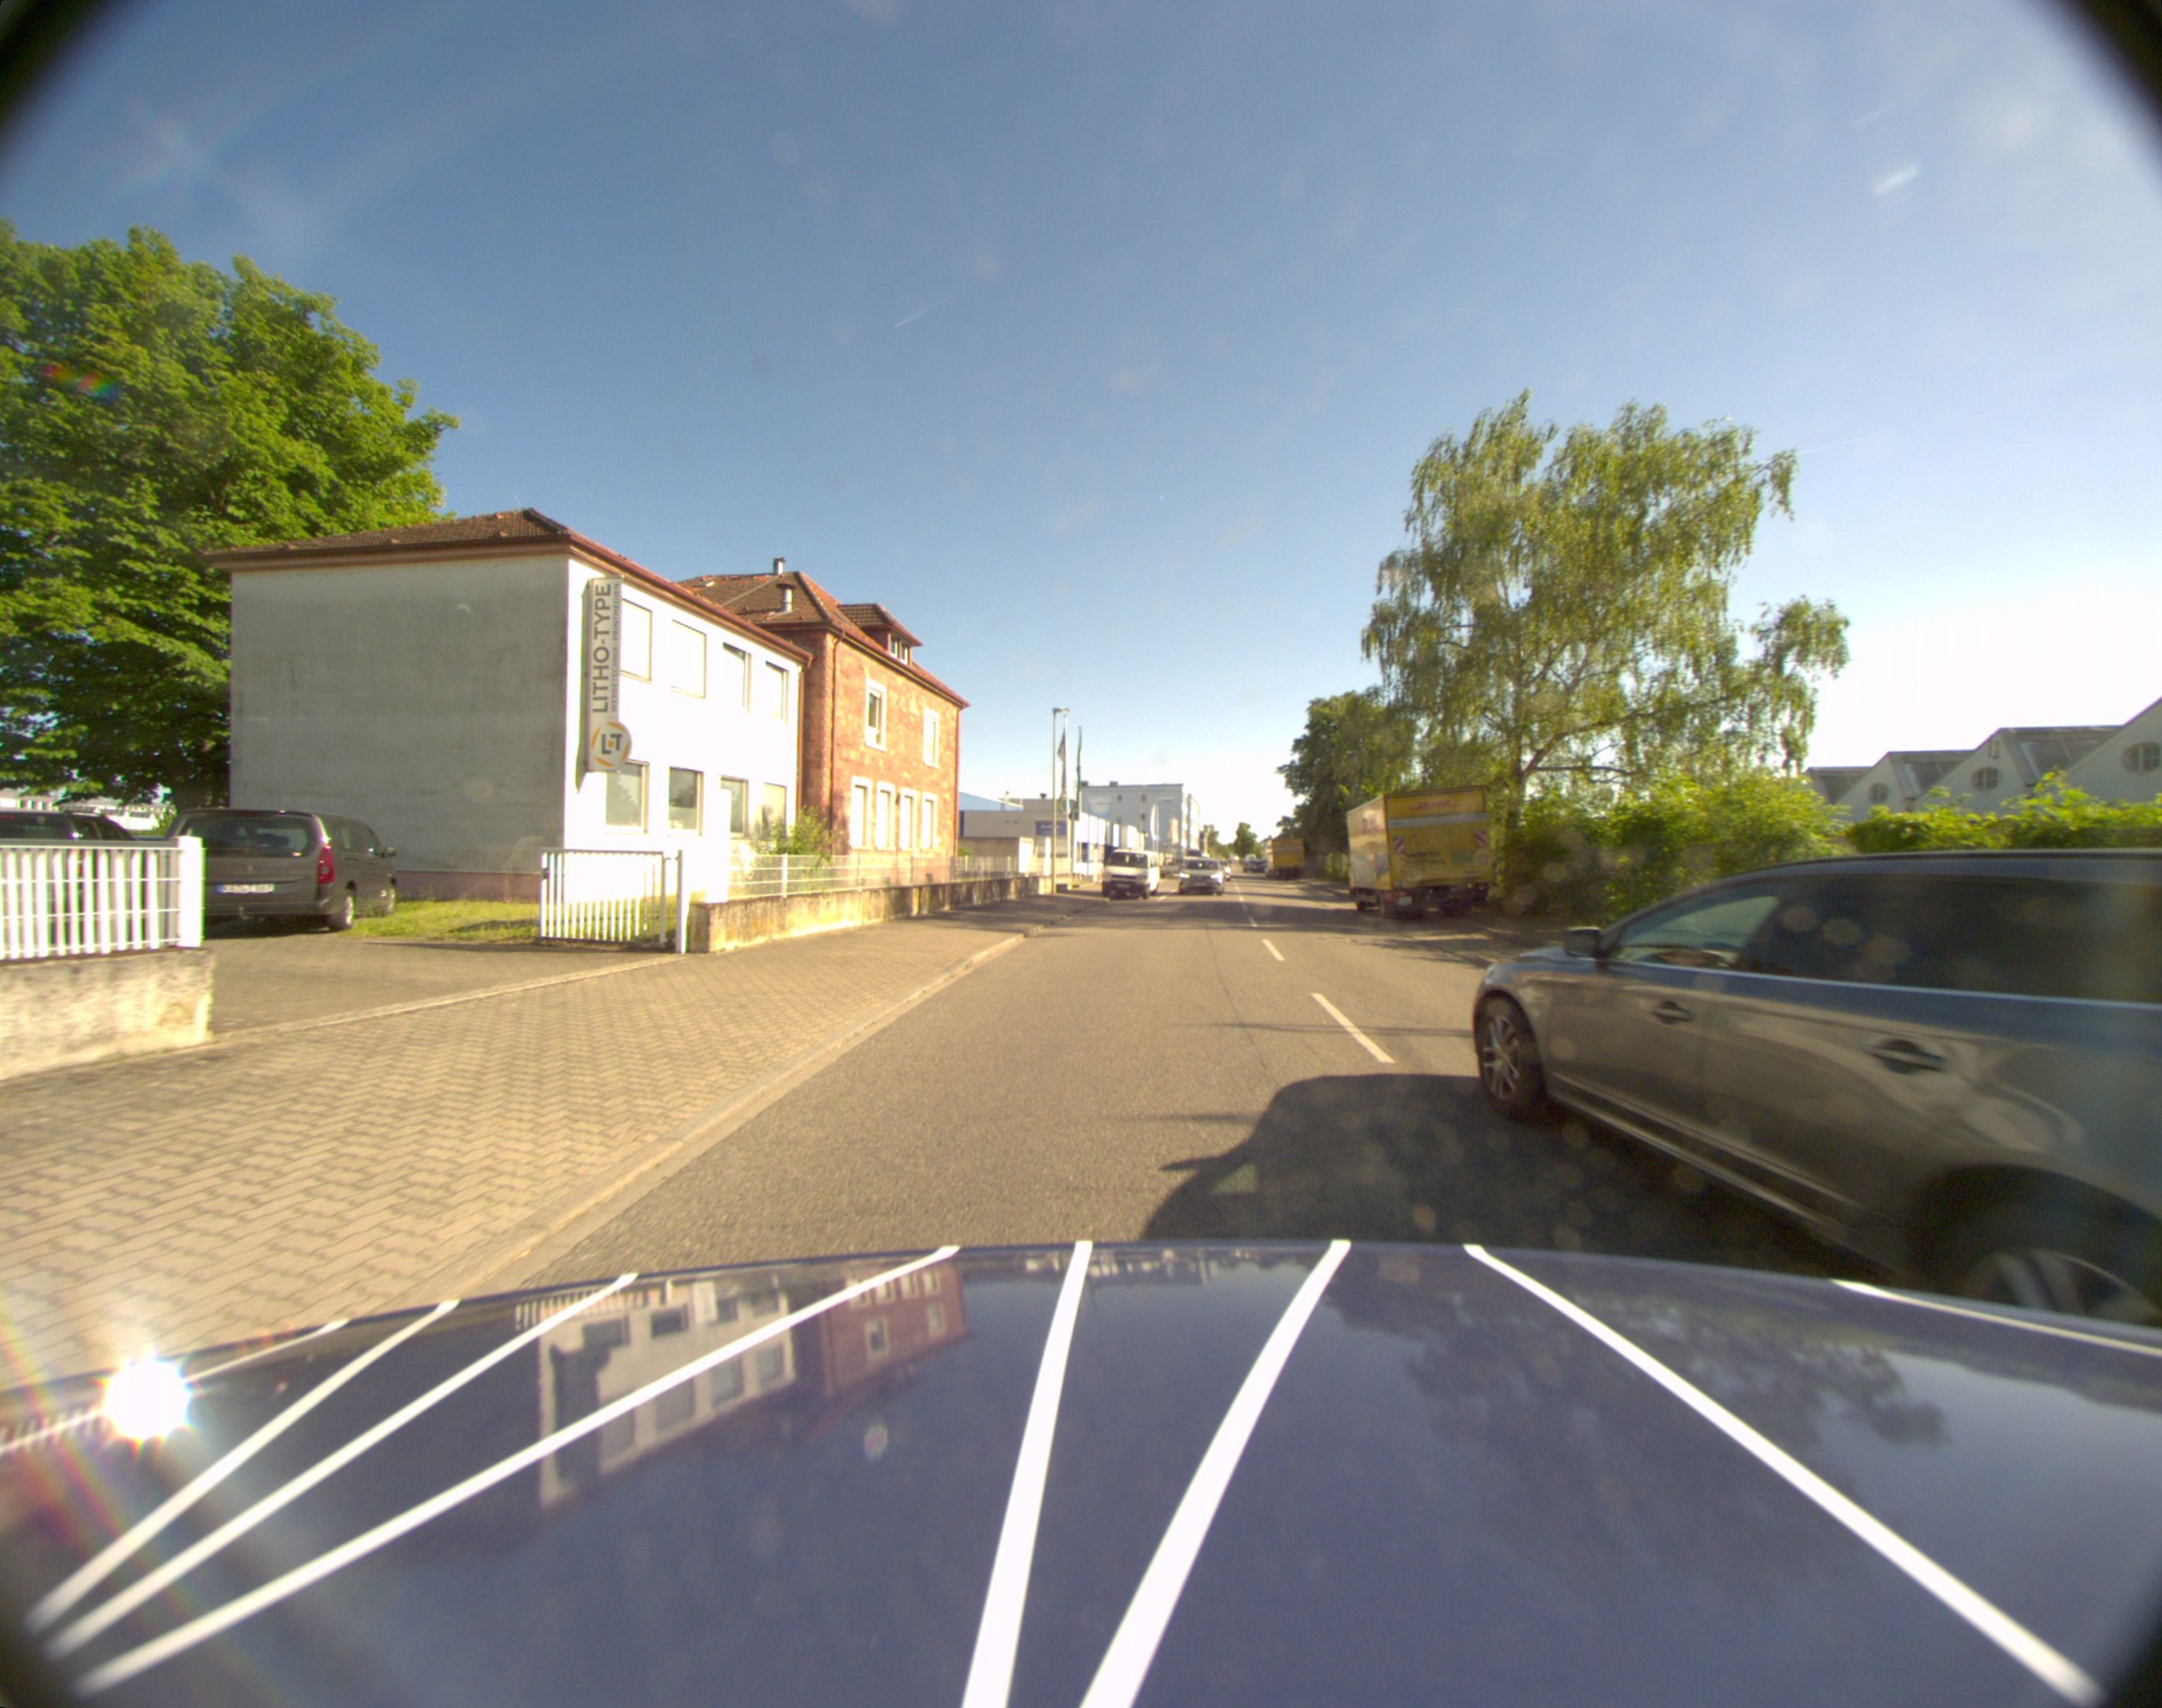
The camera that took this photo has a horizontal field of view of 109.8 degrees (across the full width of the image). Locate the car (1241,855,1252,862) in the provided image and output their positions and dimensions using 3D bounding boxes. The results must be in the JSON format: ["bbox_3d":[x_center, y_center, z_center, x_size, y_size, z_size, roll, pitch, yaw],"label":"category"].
[{"bbox_3d":[38.117,1.081,175.129,1.849,1.621,4.297,2,0,6],"label":"car"}]

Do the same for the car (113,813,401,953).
[{"bbox_3d":[-12.521,0.347,11.957,2.004,1.767,4.354,1,0,-32],"label":"car"}]

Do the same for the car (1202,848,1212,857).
[{"bbox_3d":[25.270,-0.335,152.135,1.848,1.621,4.299,2,0,10],"label":"car"}]

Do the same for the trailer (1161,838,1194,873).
[{"bbox_3d":[7.824,0.137,61.228,2.159,2.701,4.201,2,0,13],"label":"trailer"}]

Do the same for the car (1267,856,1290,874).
[{"bbox_3d":[19.618,1.058,75.456,1.848,1.621,4.299,2,0,10],"label":"car"}]

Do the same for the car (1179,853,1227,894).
[{"bbox_3d":[5.477,0.798,33.612,1.848,1.621,4.299,2,0,12],"label":"car"}]

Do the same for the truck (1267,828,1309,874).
[{"bbox_3d":[18.034,-0.237,66.576,2.793,3.736,7.904,2,0,11],"label":"truck"}]

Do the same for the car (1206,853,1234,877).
[{"bbox_3d":[10.180,0.765,55.384,1.848,1.621,4.299,2,0,12],"label":"car"}]

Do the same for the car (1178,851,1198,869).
[{"bbox_3d":[11.141,0.620,78.989,1.848,1.695,4.299,2,0,10],"label":"car"}]

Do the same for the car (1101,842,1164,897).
[{"bbox_3d":[2.173,0.589,30.950,1.848,2.002,4.719,-2,0,12],"label":"car"}]

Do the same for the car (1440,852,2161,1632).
[{"bbox_3d":[3.406,0.866,2.879,1.998,1.686,4.566,2,0,2],"label":"car"}]

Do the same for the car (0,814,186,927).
[{"bbox_3d":[-18.424,0.209,13.525,2.004,1.767,4.354,1,0,-32],"label":"car"}]

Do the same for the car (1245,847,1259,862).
[{"bbox_3d":[35.500,0.087,157.957,2.171,2.974,6.345,2,0,7],"label":"car"}]

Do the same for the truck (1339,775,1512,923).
[{"bbox_3d":[10.050,-0.093,23.219,2.846,3.598,8.014,-4,-1,11],"label":"truck"}]

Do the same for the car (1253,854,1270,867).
[{"bbox_3d":[23.571,0.887,99.312,1.849,1.621,4.298,2,0,8],"label":"car"}]

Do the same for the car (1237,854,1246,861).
[{"bbox_3d":[41.304,0.837,195.407,1.849,1.621,4.297,2,0,5],"label":"car"}]
